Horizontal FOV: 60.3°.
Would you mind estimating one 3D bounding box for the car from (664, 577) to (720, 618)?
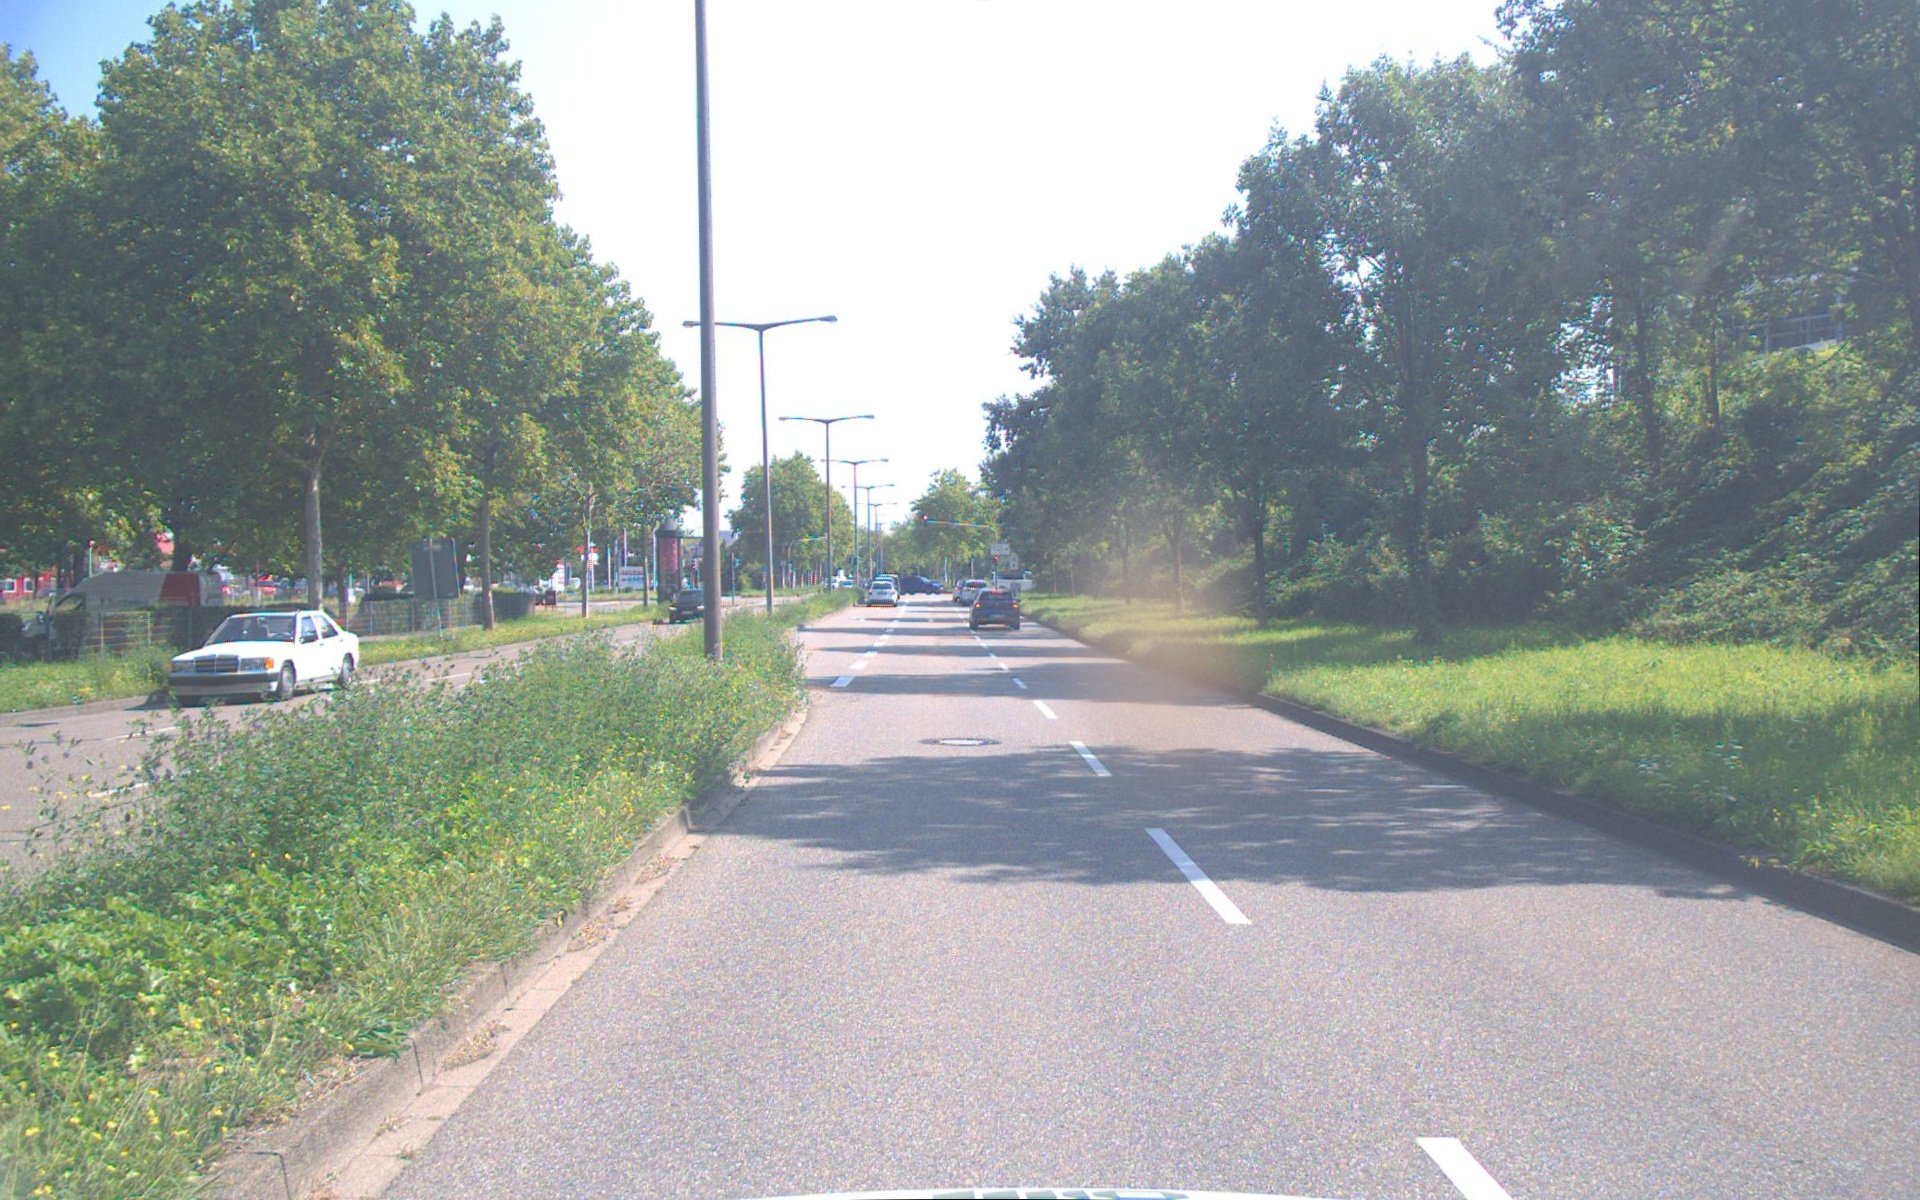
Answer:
[{"bbox_3d":[-11.905,-0.153,73.564,1.953,1.588,4.000,1,3,-2],"label":"car"}]

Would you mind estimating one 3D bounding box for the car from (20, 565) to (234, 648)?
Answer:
[{"bbox_3d":[-25.852,0.175,51.511,5.472,2.377,2.278,1,3,-3],"label":"car"}]

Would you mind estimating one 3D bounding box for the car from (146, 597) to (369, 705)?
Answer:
[{"bbox_3d":[-11.149,0.749,26.601,1.759,1.441,4.409,-3,1,-2],"label":"car"}]

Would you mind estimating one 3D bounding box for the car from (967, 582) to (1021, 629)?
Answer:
[{"bbox_3d":[1.191,0.169,59.721,1.744,1.452,4.000,1,3,-1],"label":"car"}]

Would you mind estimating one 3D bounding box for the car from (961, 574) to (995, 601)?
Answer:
[{"bbox_3d":[1.108,-0.788,104.696,1.953,1.683,3.999,-1,0,-2],"label":"car"}]

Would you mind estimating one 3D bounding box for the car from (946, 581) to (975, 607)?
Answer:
[{"bbox_3d":[-0.001,-0.467,117.966,1.953,1.682,4.000,0,3,-2],"label":"car"}]

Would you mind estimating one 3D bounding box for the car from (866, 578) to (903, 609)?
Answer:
[{"bbox_3d":[-4.369,-0.396,96.357,1.953,1.731,4.000,-1,0,0],"label":"car"}]
